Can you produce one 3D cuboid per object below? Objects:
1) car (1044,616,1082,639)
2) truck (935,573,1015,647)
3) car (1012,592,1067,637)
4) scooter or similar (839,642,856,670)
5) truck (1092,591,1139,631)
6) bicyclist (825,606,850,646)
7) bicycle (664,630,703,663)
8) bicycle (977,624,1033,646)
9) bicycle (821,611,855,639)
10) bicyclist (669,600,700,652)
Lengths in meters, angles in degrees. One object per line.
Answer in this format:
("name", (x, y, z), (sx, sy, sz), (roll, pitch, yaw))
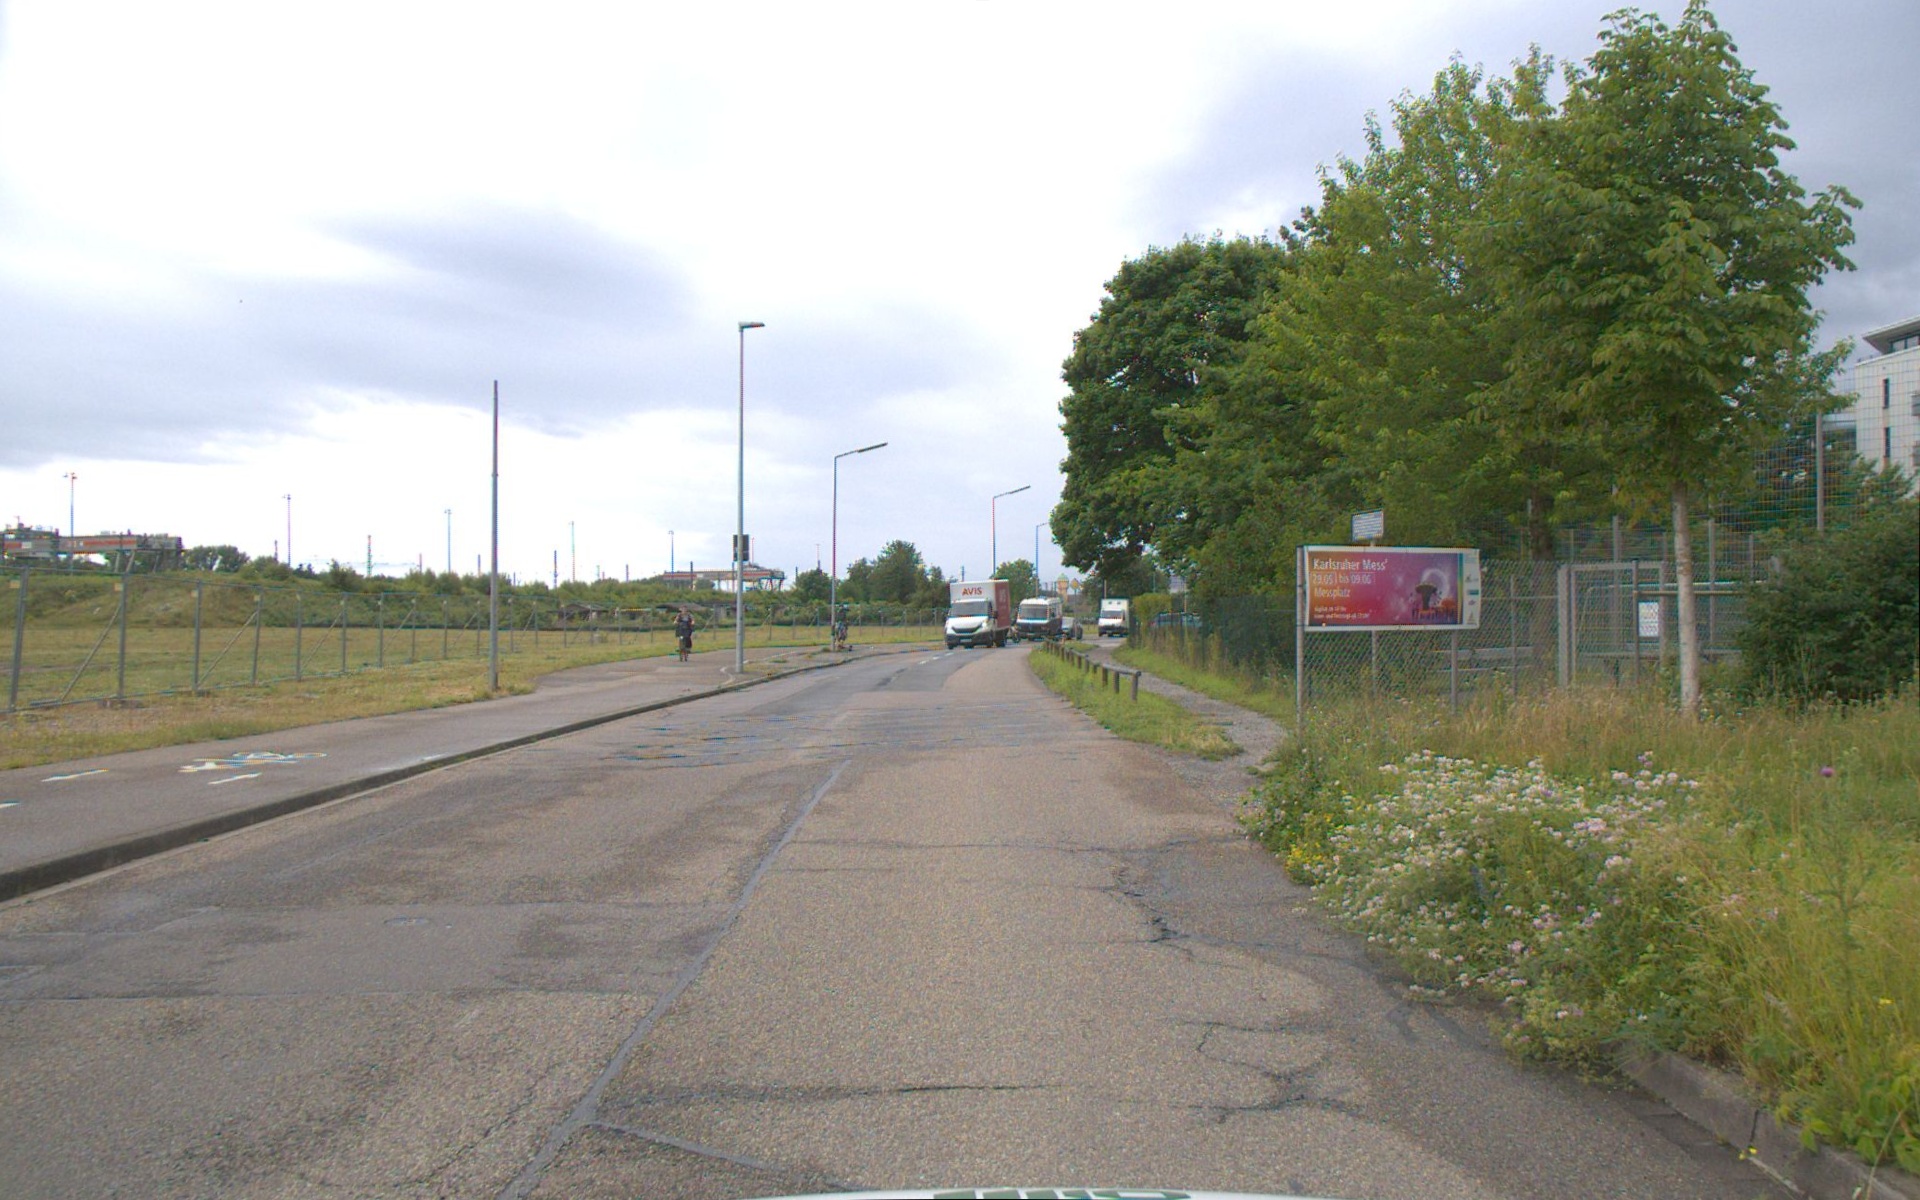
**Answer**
("car", (7.048, 1.872, 113.152), (1.742, 1.531, 4.003), (-1, 0, 16))
("truck", (0.771, 0.423, 75.917), (2.291, 3.115, 7.503), (-3, 0, 11))
("car", (5.167, 0.887, 106.097), (2.251, 2.782, 6.096), (0, 0, 15))
("scooter or similar", (-4.965, 2.466, 73.013), (0.596, 1.203, 1.702), (1, 0, 1))
("truck", (12.532, 0.836, 132.452), (2.409, 3.114, 8.168), (-1, 0, 15))
("bicyclist", (-5.744, 1.204, 77.661), (0.810, 1.853, 1.331), (0, 0, 13))
("bicycle", (-8.494, 1.414, 50.921), (0.787, 0.923, 2.232), (0, 0, 1))
("bicycle", (2.687, 2.067, 98.067), (3.054, 1.220, 1.366), (0, 0, 15))
("bicycle", (-5.721, 1.168, 77.713), (0.801, 1.225, 2.559), (0, 0, 14))
("bicyclist", (-8.477, 0.796, 50.903), (0.766, 1.553, 1.094), (0, 0, 0))
